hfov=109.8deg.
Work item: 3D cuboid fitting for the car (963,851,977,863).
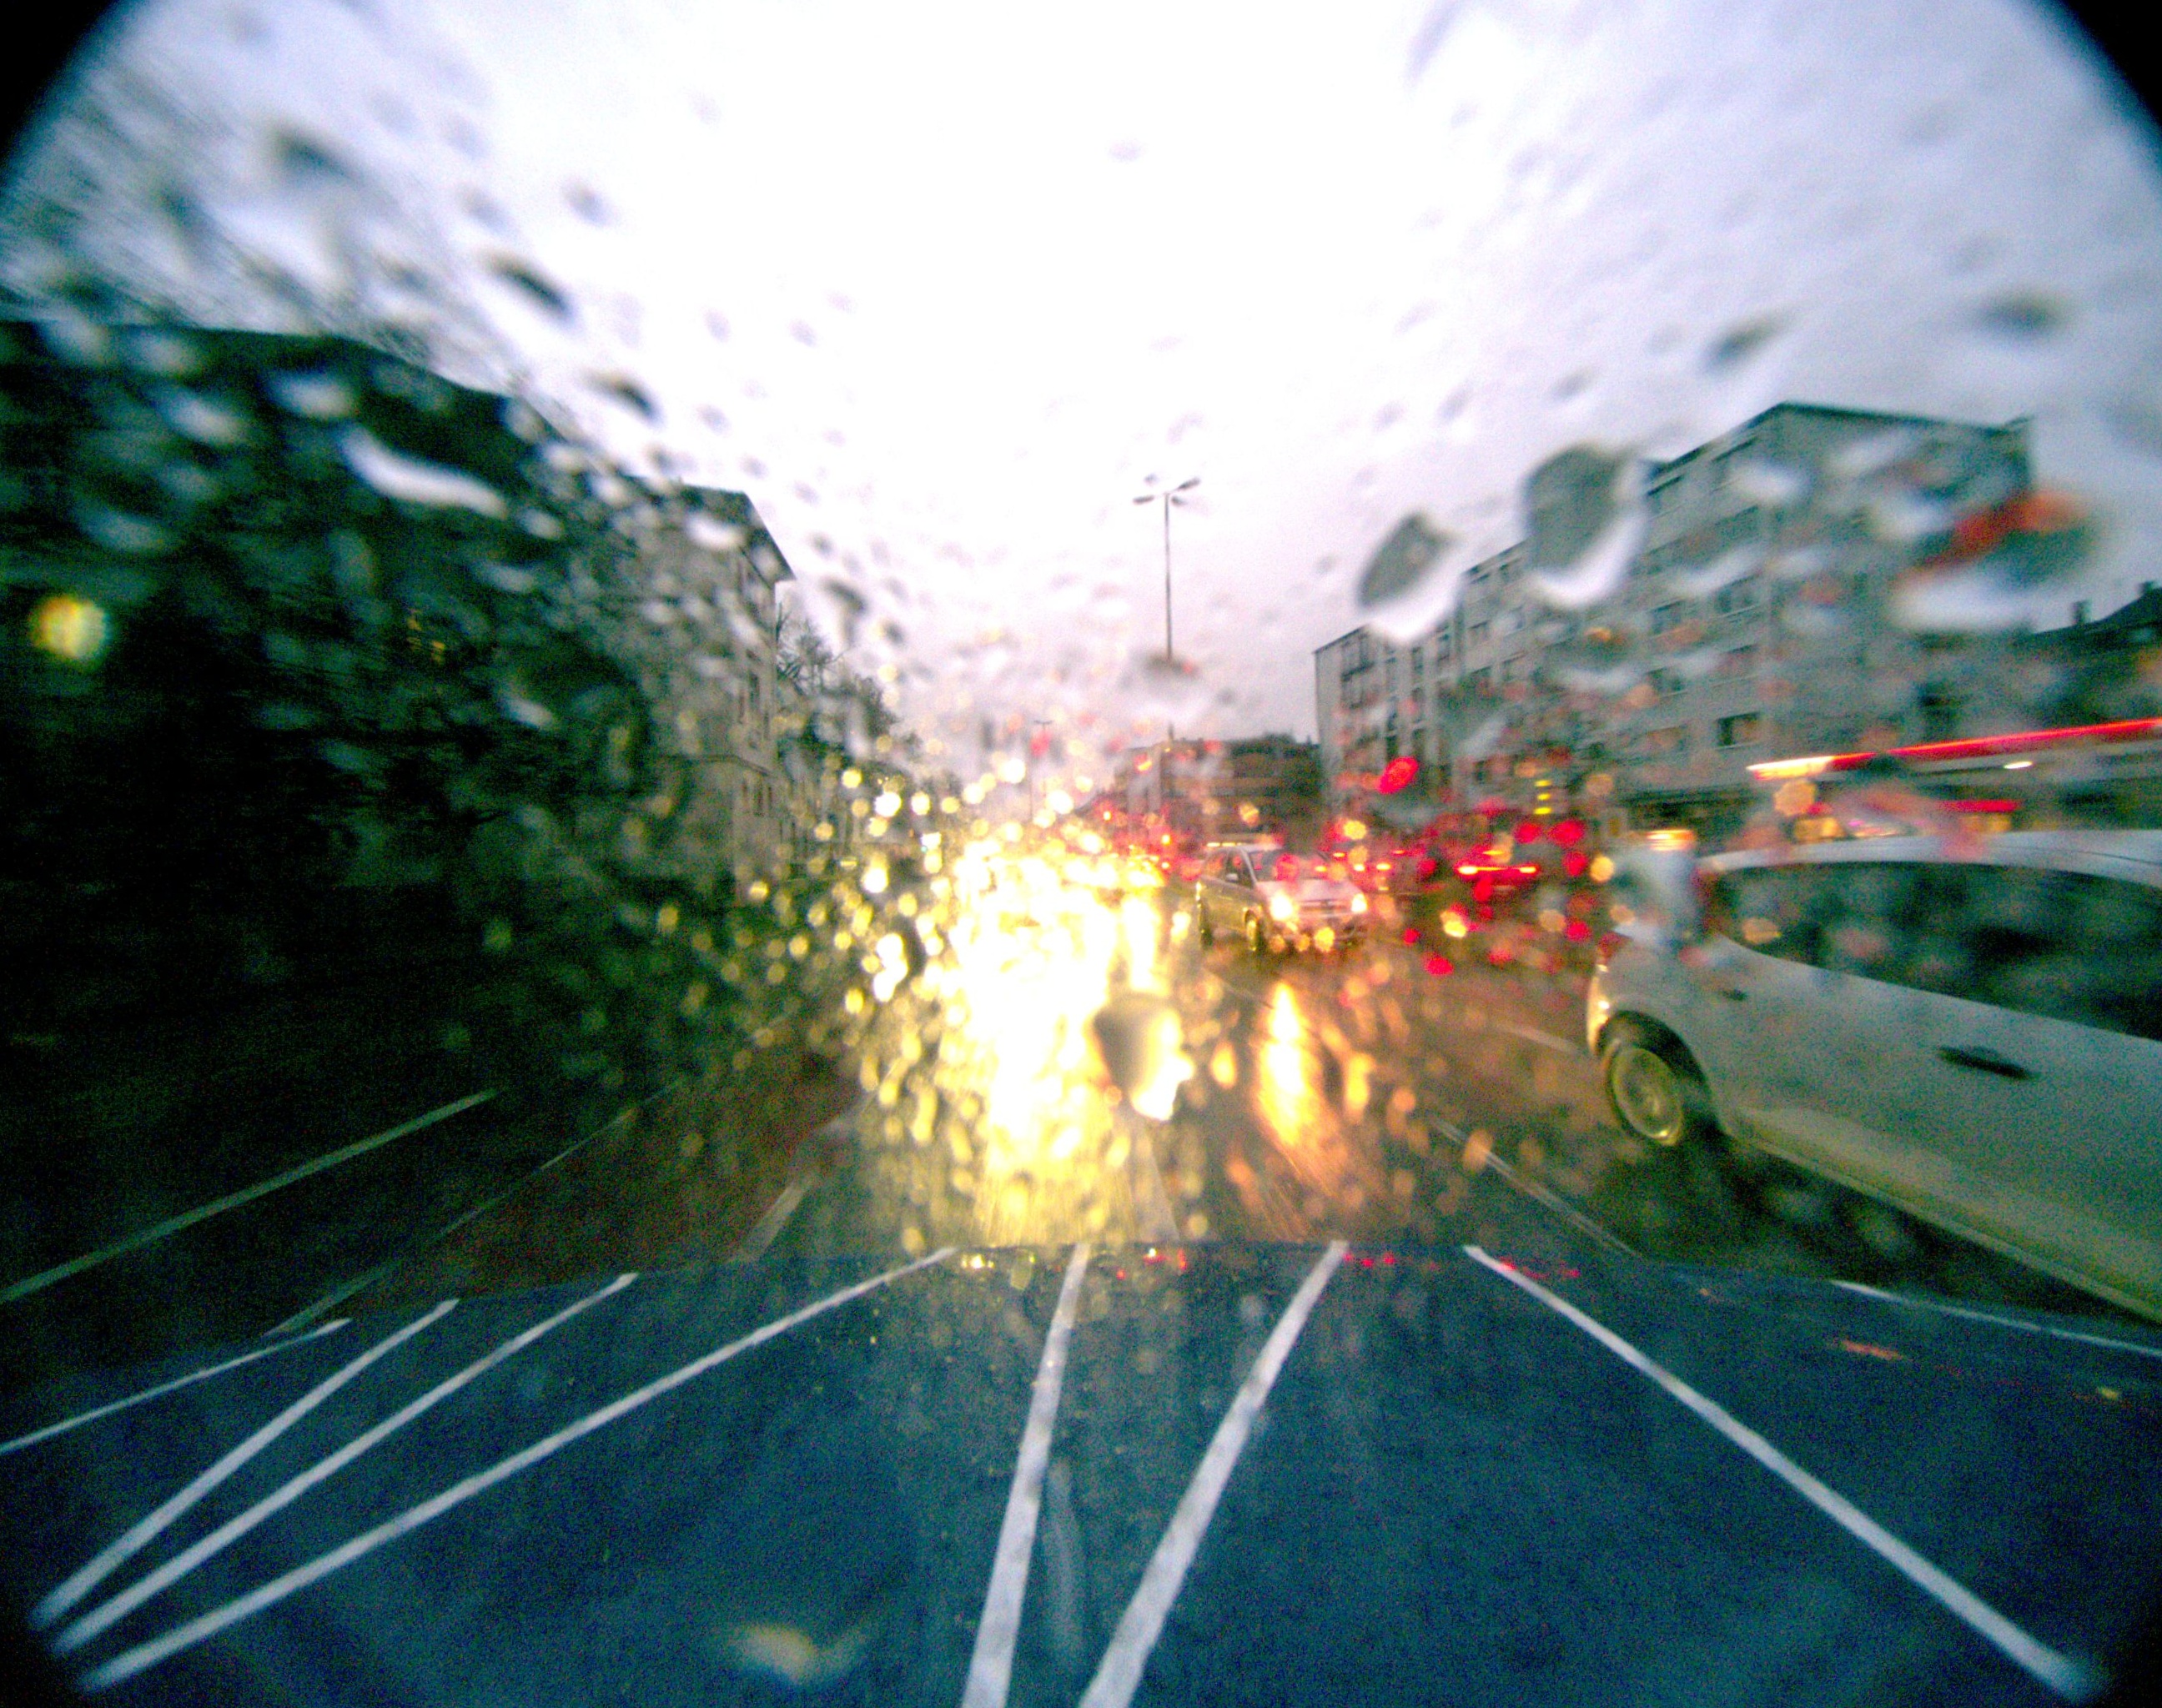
[{"bbox_3d":[-16.449,0.511,112.529,2.000,1.686,3.997,-2,0,-8],"label":"car"}]

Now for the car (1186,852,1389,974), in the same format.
[{"bbox_3d":[3.019,0.766,12.044,1.650,1.539,4.107,-2,0,-7],"label":"car"}]

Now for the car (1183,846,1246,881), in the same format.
[{"bbox_3d":[7.075,0.507,40.794,1.969,1.772,4.530,-1,0,-9],"label":"car"}]

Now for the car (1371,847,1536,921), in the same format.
[{"bbox_3d":[9.164,0.672,19.189,1.650,1.620,4.658,-1,0,-3],"label":"car"}]

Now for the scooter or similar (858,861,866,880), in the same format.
[{"bbox_3d":[-13.913,1.054,48.348,0.442,1.196,1.080,-2,0,-17],"label":"scooter or similar"}]

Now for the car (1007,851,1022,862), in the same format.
[{"bbox_3d":[-9.892,0.381,112.746,2.000,1.599,3.997,-2,0,-8],"label":"car"}]

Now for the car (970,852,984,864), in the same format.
[{"bbox_3d":[-16.360,0.620,119.249,2.000,1.694,3.997,-2,0,-8],"label":"car"}]

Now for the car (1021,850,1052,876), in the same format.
[{"bbox_3d":[-3.115,0.581,52.015,1.820,1.732,4.183,-1,0,-7],"label":"car"}]

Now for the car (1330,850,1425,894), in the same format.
[{"bbox_3d":[11.429,0.660,29.631,1.650,1.557,4.278,-1,0,-6],"label":"car"}]

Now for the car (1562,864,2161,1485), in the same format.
[{"bbox_3d":[3.453,0.798,2.063,1.631,1.478,3.999,-1,0,-2],"label":"car"}]

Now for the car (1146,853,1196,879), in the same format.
[{"bbox_3d":[5.577,0.730,47.707,1.969,1.505,4.530,-1,0,-9],"label":"car"}]

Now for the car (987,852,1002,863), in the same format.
[{"bbox_3d":[-12.833,0.461,112.767,2.000,1.526,3.997,-2,0,-8],"label":"car"}]

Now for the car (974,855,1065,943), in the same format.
[{"bbox_3d":[-1.320,0.856,16.292,1.650,1.575,3.802,-2,1,-5],"label":"car"}]

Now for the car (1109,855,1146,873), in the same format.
[{"bbox_3d":[3.610,0.772,60.230,1.969,1.378,4.530,-1,0,-9],"label":"car"}]

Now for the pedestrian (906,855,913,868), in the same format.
[{"bbox_3d":[-20.435,0.867,90.479,0.656,1.579,0.561,-2,0,-17],"label":"pedestrian"}]

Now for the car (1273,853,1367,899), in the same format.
[{"bbox_3d":[8.372,0.724,26.975,1.650,1.478,4.142,-1,0,-6],"label":"car"}]

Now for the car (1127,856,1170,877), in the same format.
[{"bbox_3d":[4.703,0.834,53.344,1.969,1.378,4.530,-1,0,-9],"label":"car"}]

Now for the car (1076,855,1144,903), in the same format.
[{"bbox_3d":[0.934,0.808,26.805,1.754,1.535,3.997,-1,0,-7],"label":"car"}]
